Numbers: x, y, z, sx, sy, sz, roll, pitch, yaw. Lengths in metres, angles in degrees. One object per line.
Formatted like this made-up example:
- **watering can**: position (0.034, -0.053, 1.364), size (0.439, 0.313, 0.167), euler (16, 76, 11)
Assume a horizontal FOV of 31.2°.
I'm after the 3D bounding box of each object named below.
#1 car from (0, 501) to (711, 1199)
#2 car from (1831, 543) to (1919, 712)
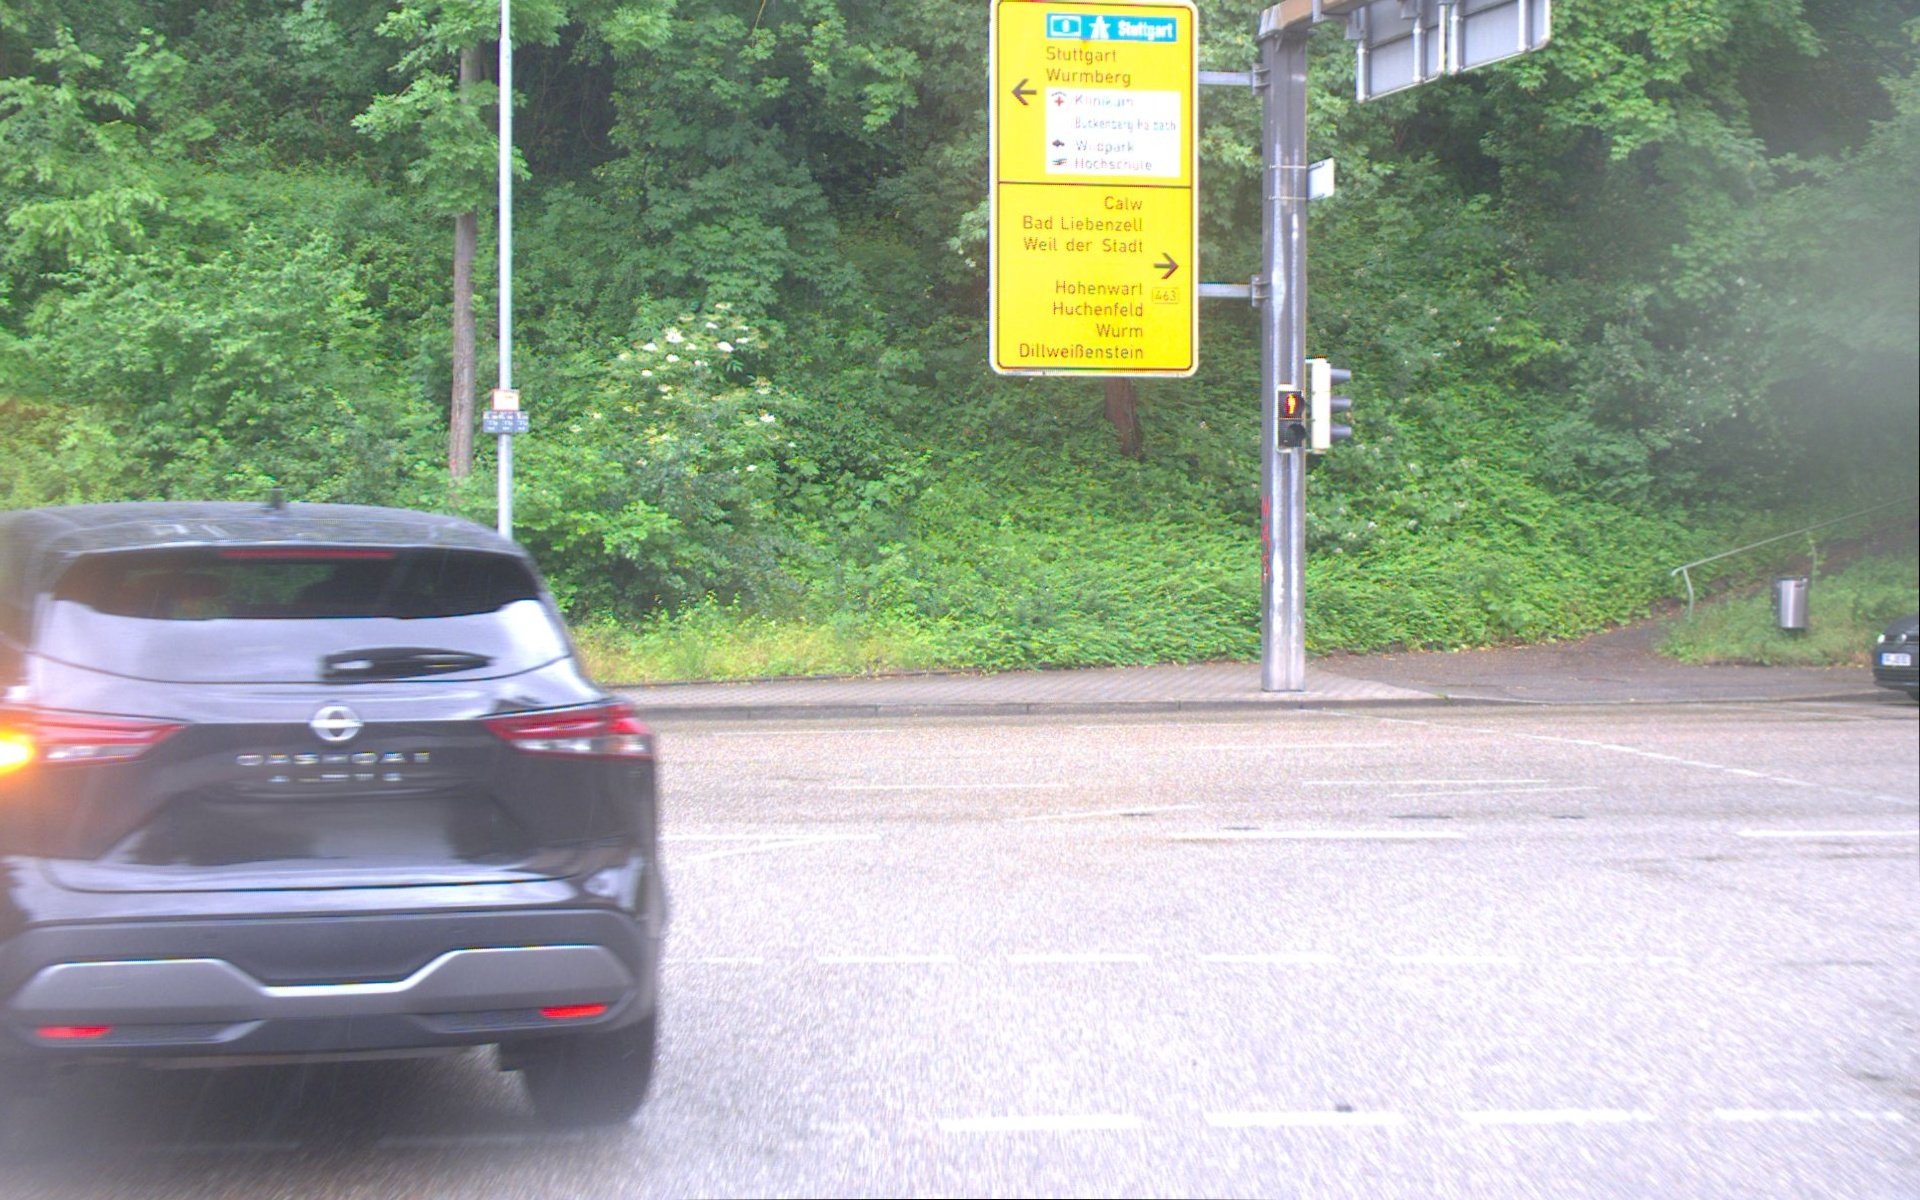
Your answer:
- **car**: position (-2.134, 0.563, 9.520), size (1.810, 1.597, 4.001), euler (0, 1, -21)
- **car**: position (10.577, 0.189, 32.111), size (4.323, 1.497, 1.884), euler (-2, 1, -12)
